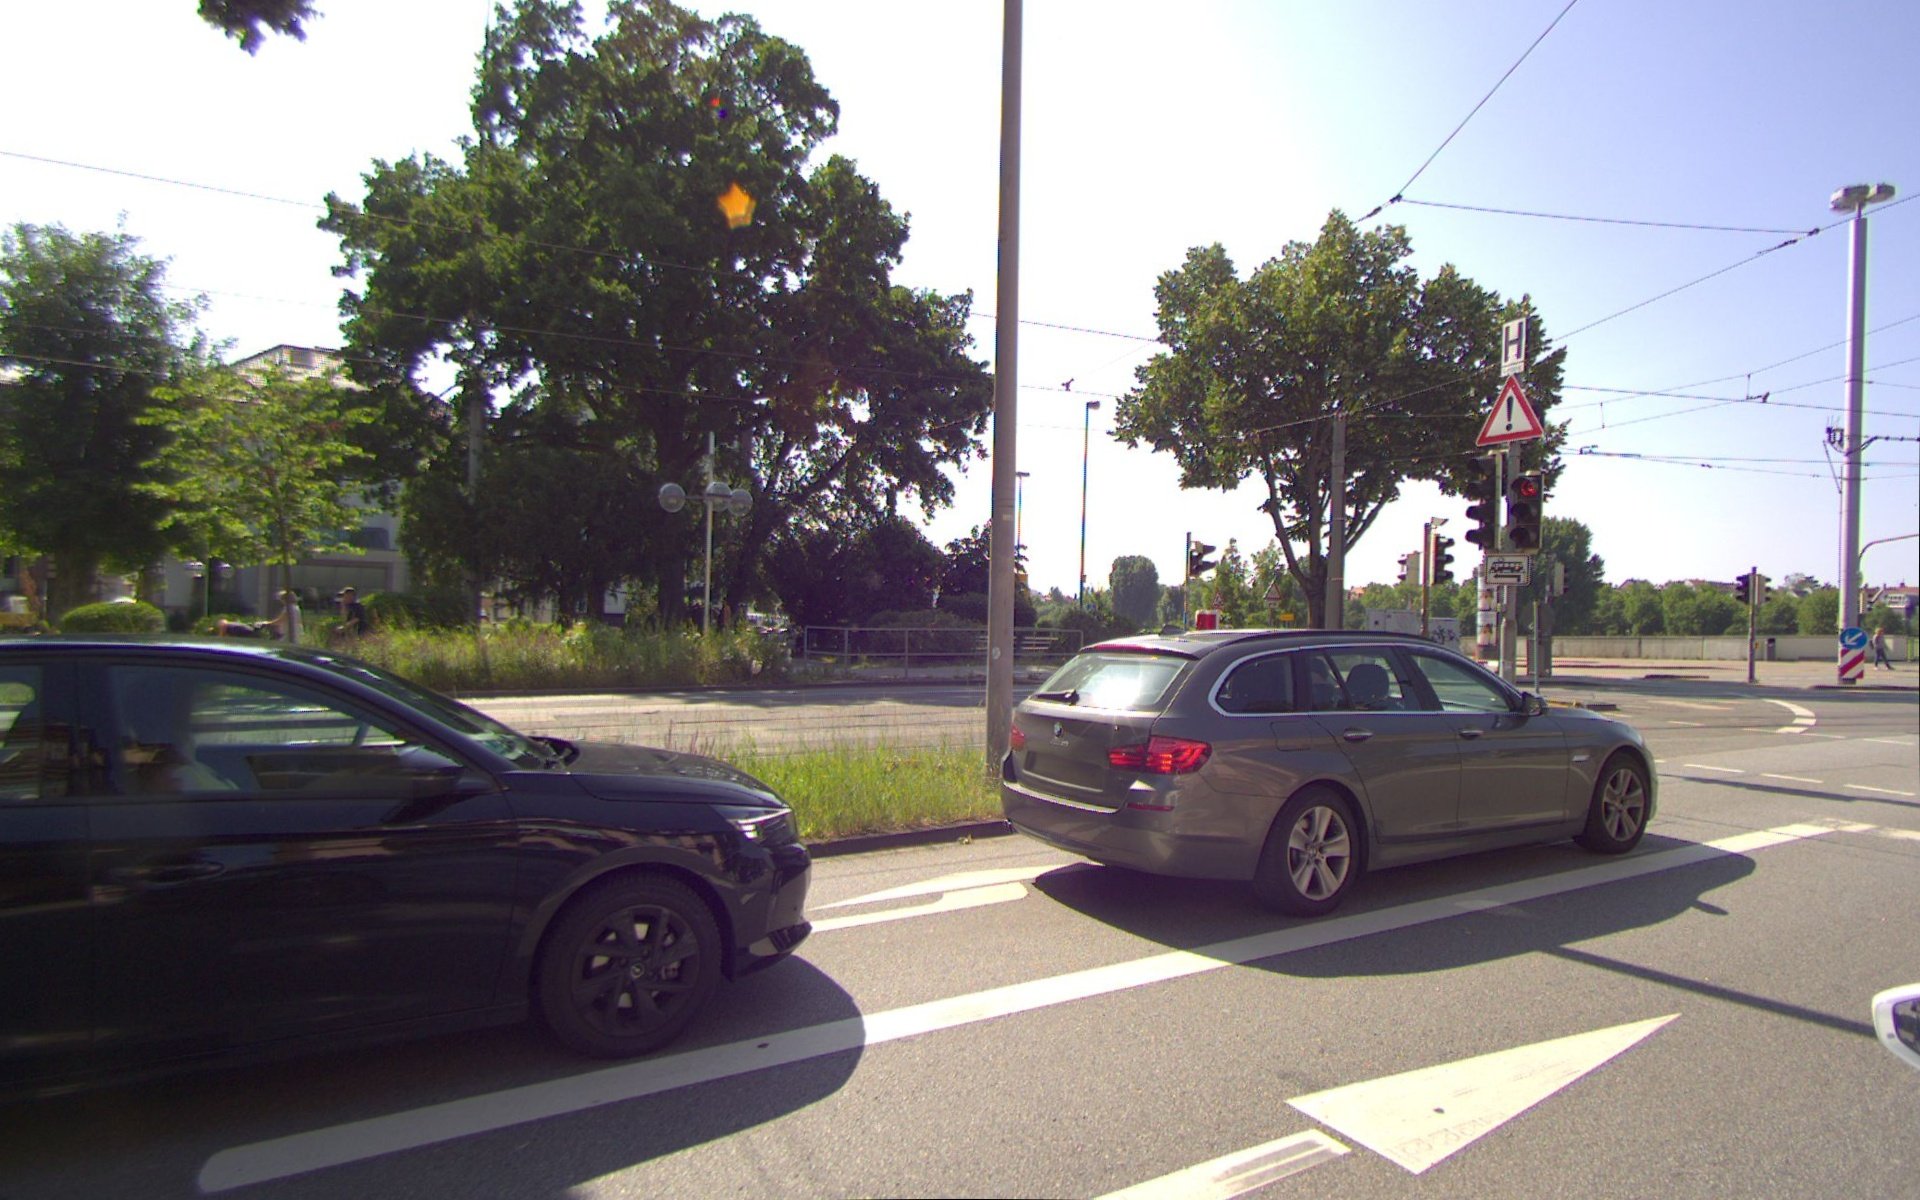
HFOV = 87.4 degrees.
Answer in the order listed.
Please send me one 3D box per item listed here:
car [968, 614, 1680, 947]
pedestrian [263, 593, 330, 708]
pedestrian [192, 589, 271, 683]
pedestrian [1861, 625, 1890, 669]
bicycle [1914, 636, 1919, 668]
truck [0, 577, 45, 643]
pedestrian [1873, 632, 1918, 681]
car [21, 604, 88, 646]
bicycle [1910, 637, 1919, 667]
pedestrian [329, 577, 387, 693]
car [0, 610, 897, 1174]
[{"bbox_3d":[2.500,0.875,6.496,4.691,1.505,1.740,1,-2,-30],"label":"car"},{"bbox_3d":[-12.218,0.902,18.533,0.790,2.040,1.219,1,-1,-23],"label":"pedestrian"},{"bbox_3d":[-13.125,0.643,18.138,0.921,1.641,1.034,1,-1,-23],"label":"pedestrian"},{"bbox_3d":[36.923,1.888,40.532,0.824,1.719,1.093,0,-1,40],"label":"pedestrian"},{"bbox_3d":[39.214,2.076,39.674,2.213,1.296,0.736,0,-1,44],"label":"bicycle"},{"bbox_3d":[-50.248,0.439,49.264,7.576,3.258,2.442,1,-1,-35],"label":"truck"},{"bbox_3d":[36.362,2.180,39.066,0.922,1.826,1.158,0,-1,23],"label":"pedestrian"},{"bbox_3d":[-47.334,1.265,52.470,4.488,2.040,1.991,1,0,40],"label":"car"},{"bbox_3d":[39.703,2.112,40.538,1.948,1.225,0.636,0,-1,44],"label":"bicycle"},{"bbox_3d":[-11.731,0.671,19.613,0.790,2.179,1.121,1,-1,-23],"label":"pedestrian"},{"bbox_3d":[-2.390,0.766,3.622,3.952,1.430,1.784,1,-1,-30],"label":"car"}]
